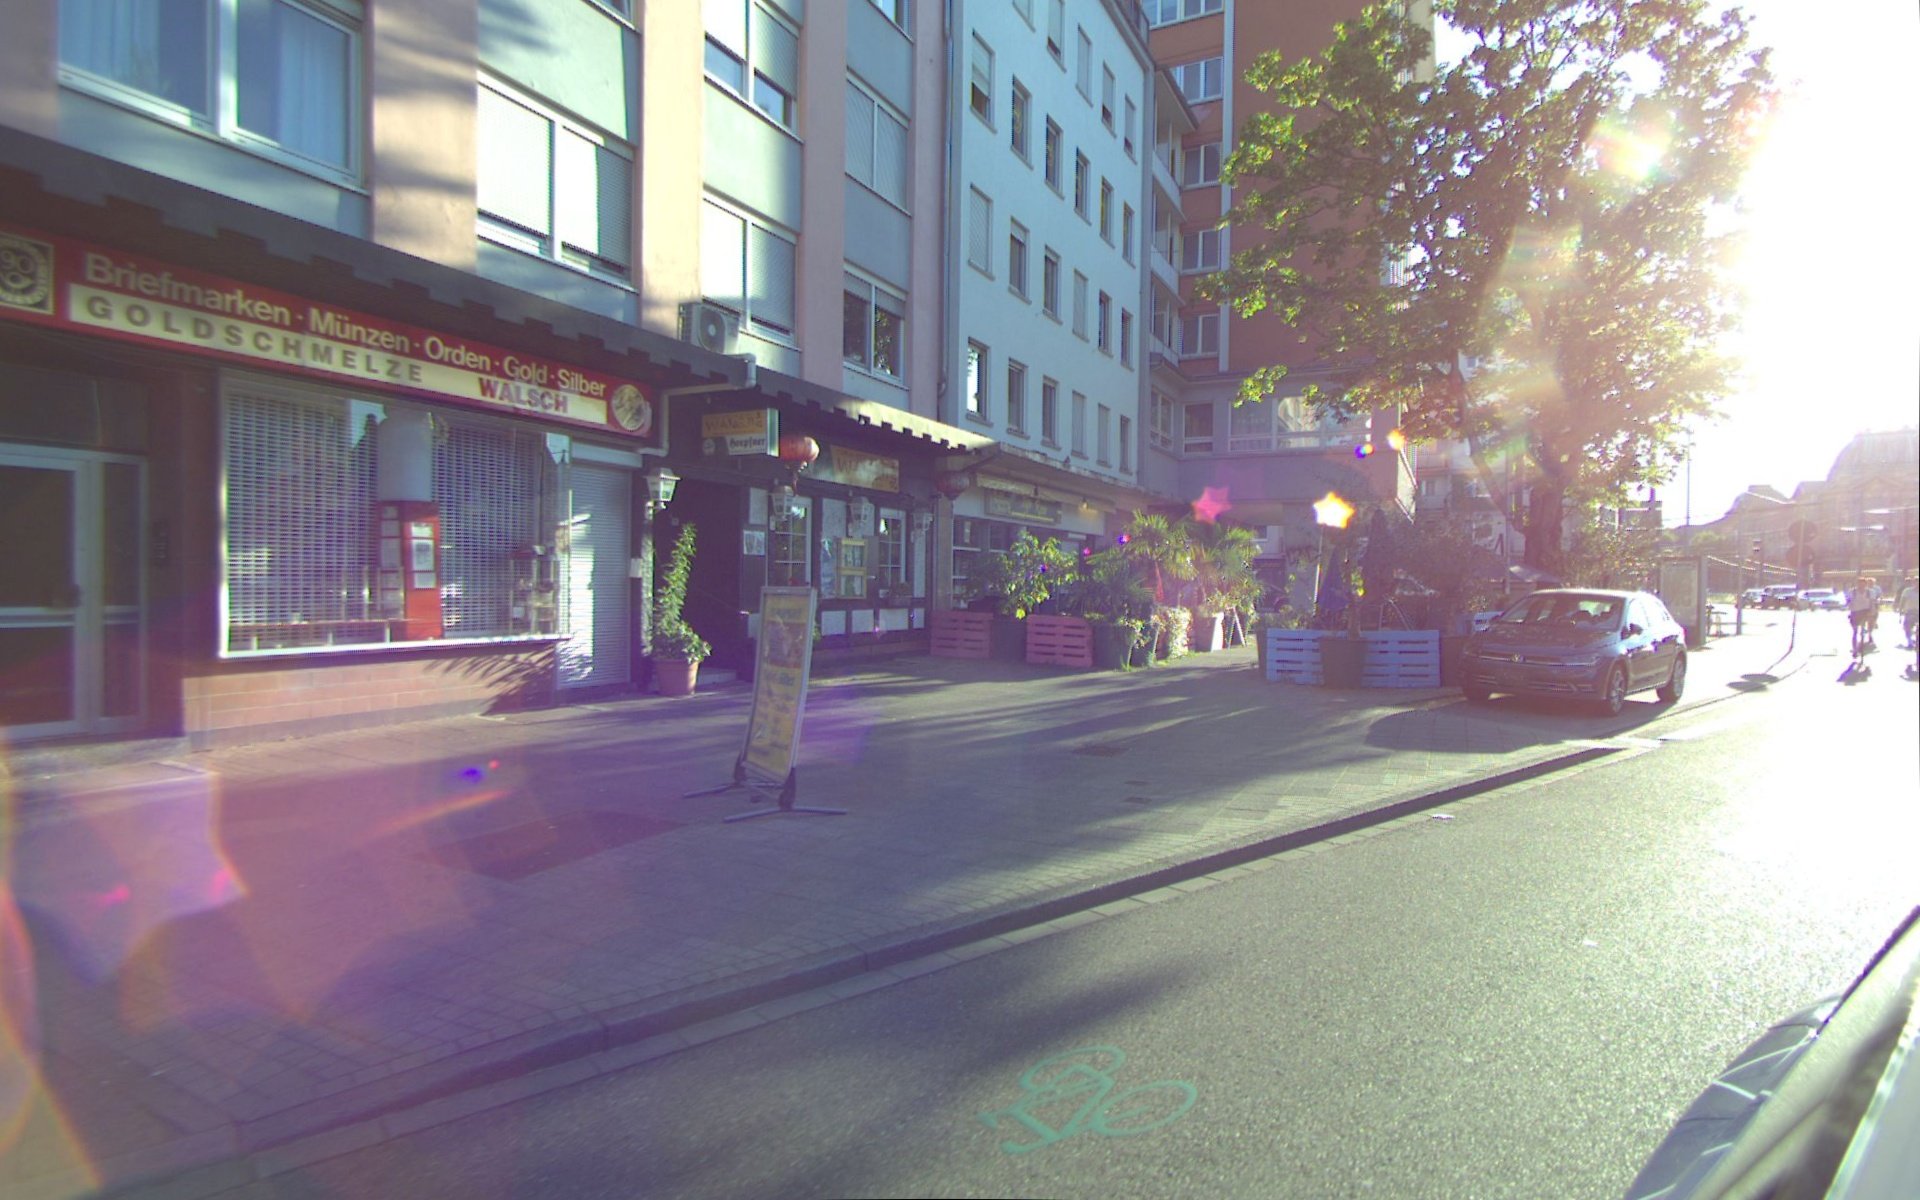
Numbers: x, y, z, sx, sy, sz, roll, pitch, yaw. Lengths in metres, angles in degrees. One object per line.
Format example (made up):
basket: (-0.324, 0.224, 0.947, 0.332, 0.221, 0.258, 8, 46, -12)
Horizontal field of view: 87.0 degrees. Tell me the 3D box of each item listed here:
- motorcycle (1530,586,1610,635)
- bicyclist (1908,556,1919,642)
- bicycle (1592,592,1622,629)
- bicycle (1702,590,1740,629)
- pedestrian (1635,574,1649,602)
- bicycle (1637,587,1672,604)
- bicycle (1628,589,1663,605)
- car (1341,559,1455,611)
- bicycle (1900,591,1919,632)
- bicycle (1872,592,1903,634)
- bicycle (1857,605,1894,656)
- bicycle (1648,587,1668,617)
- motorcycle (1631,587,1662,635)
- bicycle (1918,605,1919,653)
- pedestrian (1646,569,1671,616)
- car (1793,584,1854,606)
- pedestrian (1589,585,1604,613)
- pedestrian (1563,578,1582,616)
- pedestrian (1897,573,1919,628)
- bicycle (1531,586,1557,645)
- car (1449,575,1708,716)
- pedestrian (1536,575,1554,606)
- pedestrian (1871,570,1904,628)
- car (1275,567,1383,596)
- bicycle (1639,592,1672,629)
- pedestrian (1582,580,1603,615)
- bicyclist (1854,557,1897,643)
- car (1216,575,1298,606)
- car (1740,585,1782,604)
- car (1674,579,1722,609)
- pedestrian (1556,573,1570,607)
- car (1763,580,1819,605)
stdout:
motorcycle: (18.627, 0.297, 30.911, 2.037, 1.424, 0.751, 1, 1, 36)
bicyclist: (21.104, -0.019, 21.882, 0.826, 1.830, 1.041, 1, 1, 42)
bicycle: (20.861, 0.331, 32.647, 0.641, 1.172, 2.103, 1, 0, 28)
bicycle: (23.412, 0.279, 31.141, 0.641, 1.141, 1.855, 1, 0, 28)
pedestrian: (42.746, -0.768, 63.463, 0.659, 1.726, 1.059, 1, 1, 32)
bicycle: (46.494, -0.297, 67.785, 1.854, 1.074, 0.602, 1, 1, 25)
bicycle: (46.818, -0.190, 69.122, 1.854, 1.074, 0.602, 1, 1, 25)
car: (22.298, -0.780, 51.581, 5.217, 2.513, 1.907, 1, 1, 28)
bicycle: (29.067, 0.336, 30.799, 0.527, 1.173, 1.824, -1, 1, 38)
bicycle: (27.007, 0.367, 29.492, 0.527, 1.173, 1.824, -1, 1, 38)
bicycle: (20.031, 0.647, 22.168, 0.575, 1.041, 1.829, 1, 1, 41)
bicycle: (24.383, 0.054, 35.353, 0.518, 0.992, 1.828, 1, 3, 33)
motorcycle: (18.918, 0.272, 27.913, 0.663, 1.258, 2.175, 1, 1, 33)
bicycle: (21.080, 0.636, 21.873, 0.478, 1.041, 1.951, 1, 1, 41)
pedestrian: (24.408, -0.280, 35.352, 0.672, 1.609, 0.753, 1, 2, 33)
car: (57.757, -0.354, 67.763, 1.823, 1.418, 4.547, -2, 0, 24)
pedestrian: (36.859, -0.051, 58.590, 0.678, 1.609, 0.738, 1, 0, 32)
pedestrian: (27.442, -0.126, 45.377, 0.677, 1.683, 0.739, 1, 0, 29)
pedestrian: (29.033, 0.003, 30.797, 0.676, 1.669, 0.889, -1, 0, 38)
bicycle: (12.194, 0.312, 21.152, 0.418, 1.172, 1.738, 1, 0, 28)
car: (8.098, 0.471, 13.140, 3.831, 1.490, 1.732, -1, 4, -41)
pedestrian: (32.231, -0.527, 55.759, 0.778, 1.723, 1.017, 1, 0, 28)
pedestrian: (27.006, -0.033, 29.469, 0.637, 1.669, 0.831, -1, 0, 39)
car: (17.622, -0.894, 48.401, 4.635, 1.358, 1.821, 1, 1, 29)
bicycle: (22.000, 0.325, 32.021, 0.641, 1.141, 1.855, 1, 0, 28)
pedestrian: (27.776, -0.122, 44.450, 0.677, 1.518, 0.739, 1, 0, 29)
bicyclist: (20.070, -0.012, 22.205, 0.673, 1.830, 0.979, 1, 1, 42)
car: (16.028, -0.512, 54.672, 4.045, 1.590, 1.582, 1, 1, 27)
car: (63.633, -0.432, 80.469, 1.798, 1.418, 3.884, -2, 0, 26)
car: (49.830, -0.426, 68.413, 1.925, 1.957, 4.785, 1, 1, 28)
pedestrian: (31.026, -0.502, 52.058, 0.565, 1.723, 0.804, 1, 0, 28)
car: (61.007, -0.570, 74.378, 1.936, 1.734, 4.812, -2, 0, 24)
